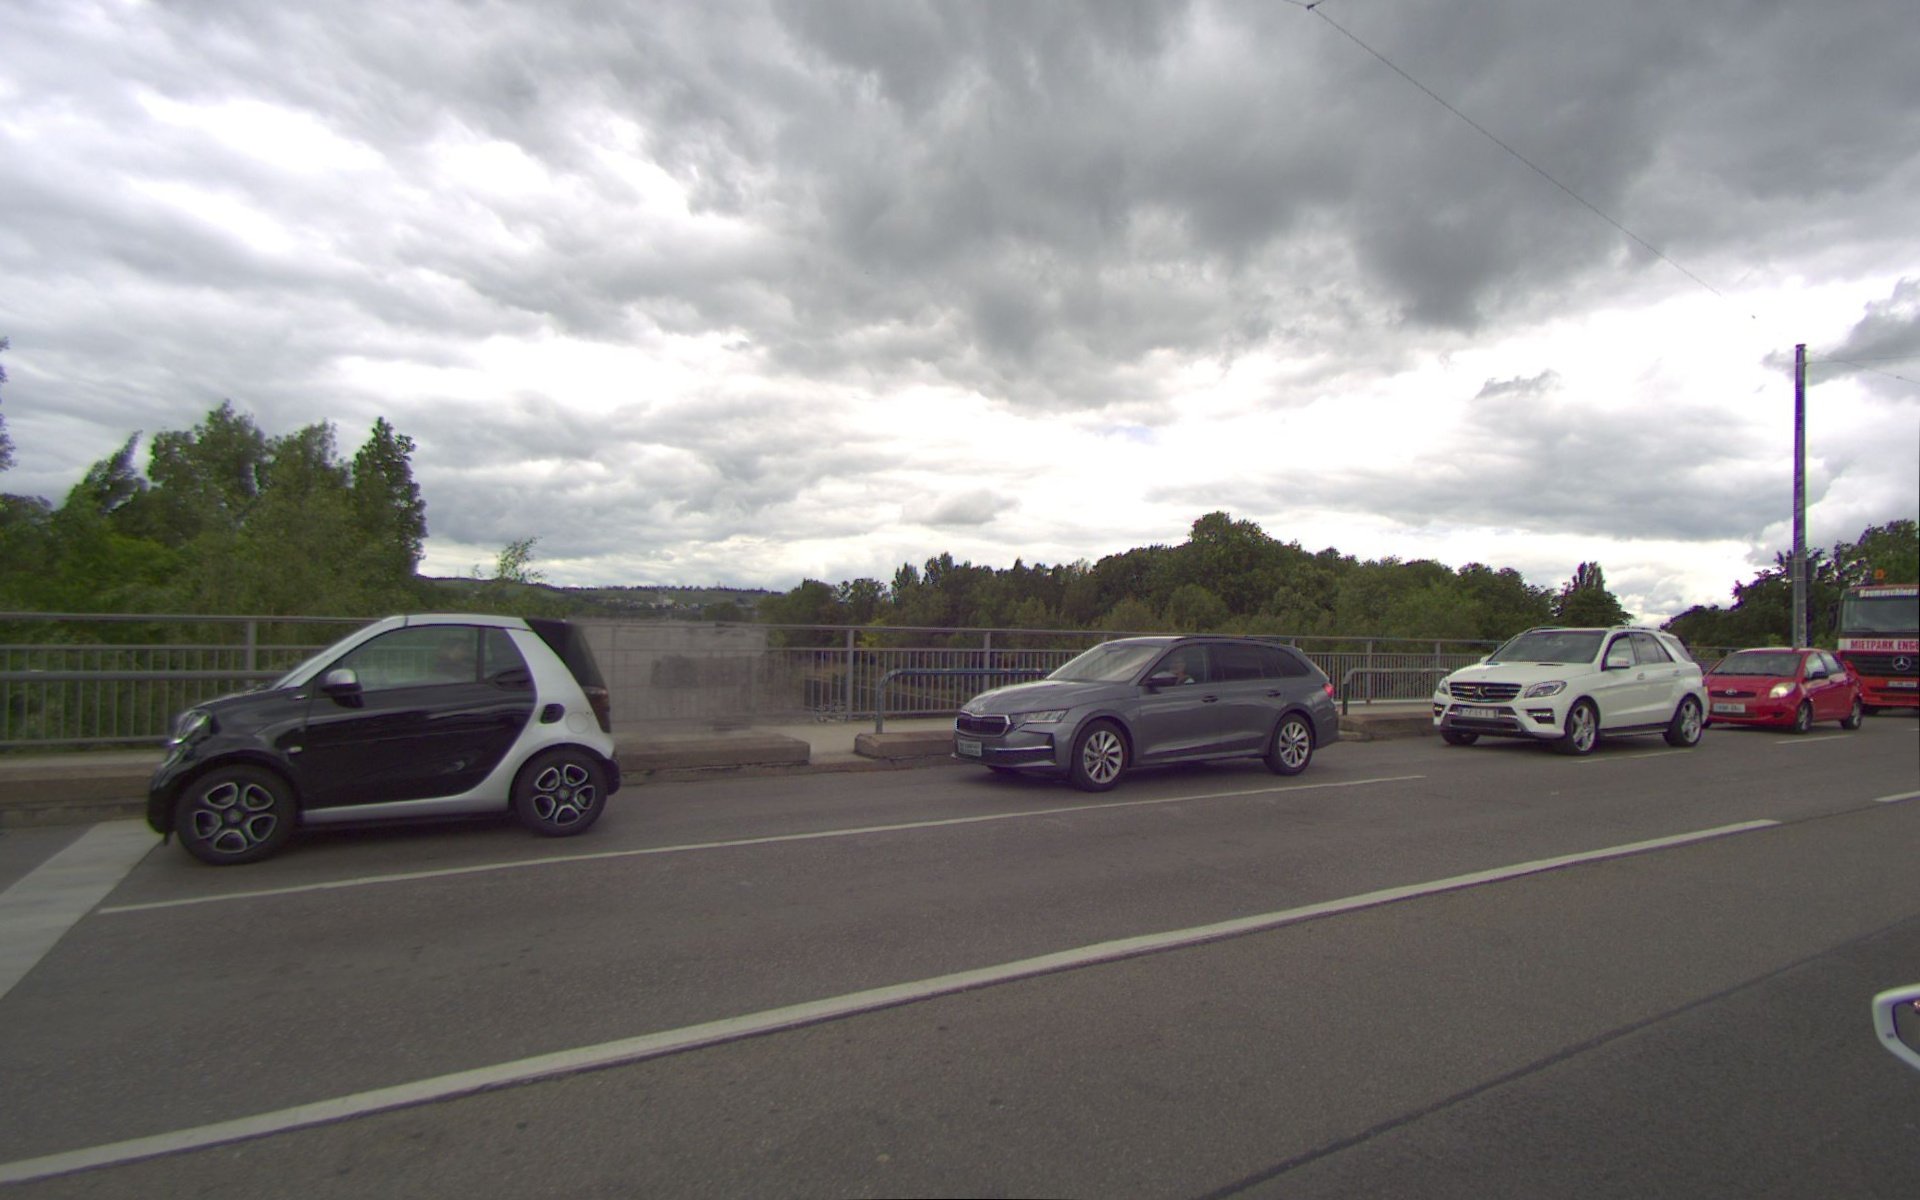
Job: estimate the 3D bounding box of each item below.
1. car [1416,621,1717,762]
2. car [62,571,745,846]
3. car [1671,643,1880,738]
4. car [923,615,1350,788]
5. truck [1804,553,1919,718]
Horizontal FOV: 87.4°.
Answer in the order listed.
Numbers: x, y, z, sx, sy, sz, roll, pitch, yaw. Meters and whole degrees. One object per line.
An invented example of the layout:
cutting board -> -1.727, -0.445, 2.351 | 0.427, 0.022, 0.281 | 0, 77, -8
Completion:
car -> 9.018, 1.321, 14.831 | 4.749, 1.784, 1.870 | 3, -4, -32
car -> -3.730, 0.715, 7.341 | 3.825, 1.524, 1.827 | 3, -3, -30
car -> 15.488, 1.689, 19.050 | 3.971, 1.623, 1.870 | 3, -4, -32
car -> 1.995, 1.045, 10.827 | 4.467, 1.523, 1.826 | 3, -4, -32
truck -> 24.999, 1.051, 25.142 | 9.872, 3.612, 2.990 | 3, -4, -32
